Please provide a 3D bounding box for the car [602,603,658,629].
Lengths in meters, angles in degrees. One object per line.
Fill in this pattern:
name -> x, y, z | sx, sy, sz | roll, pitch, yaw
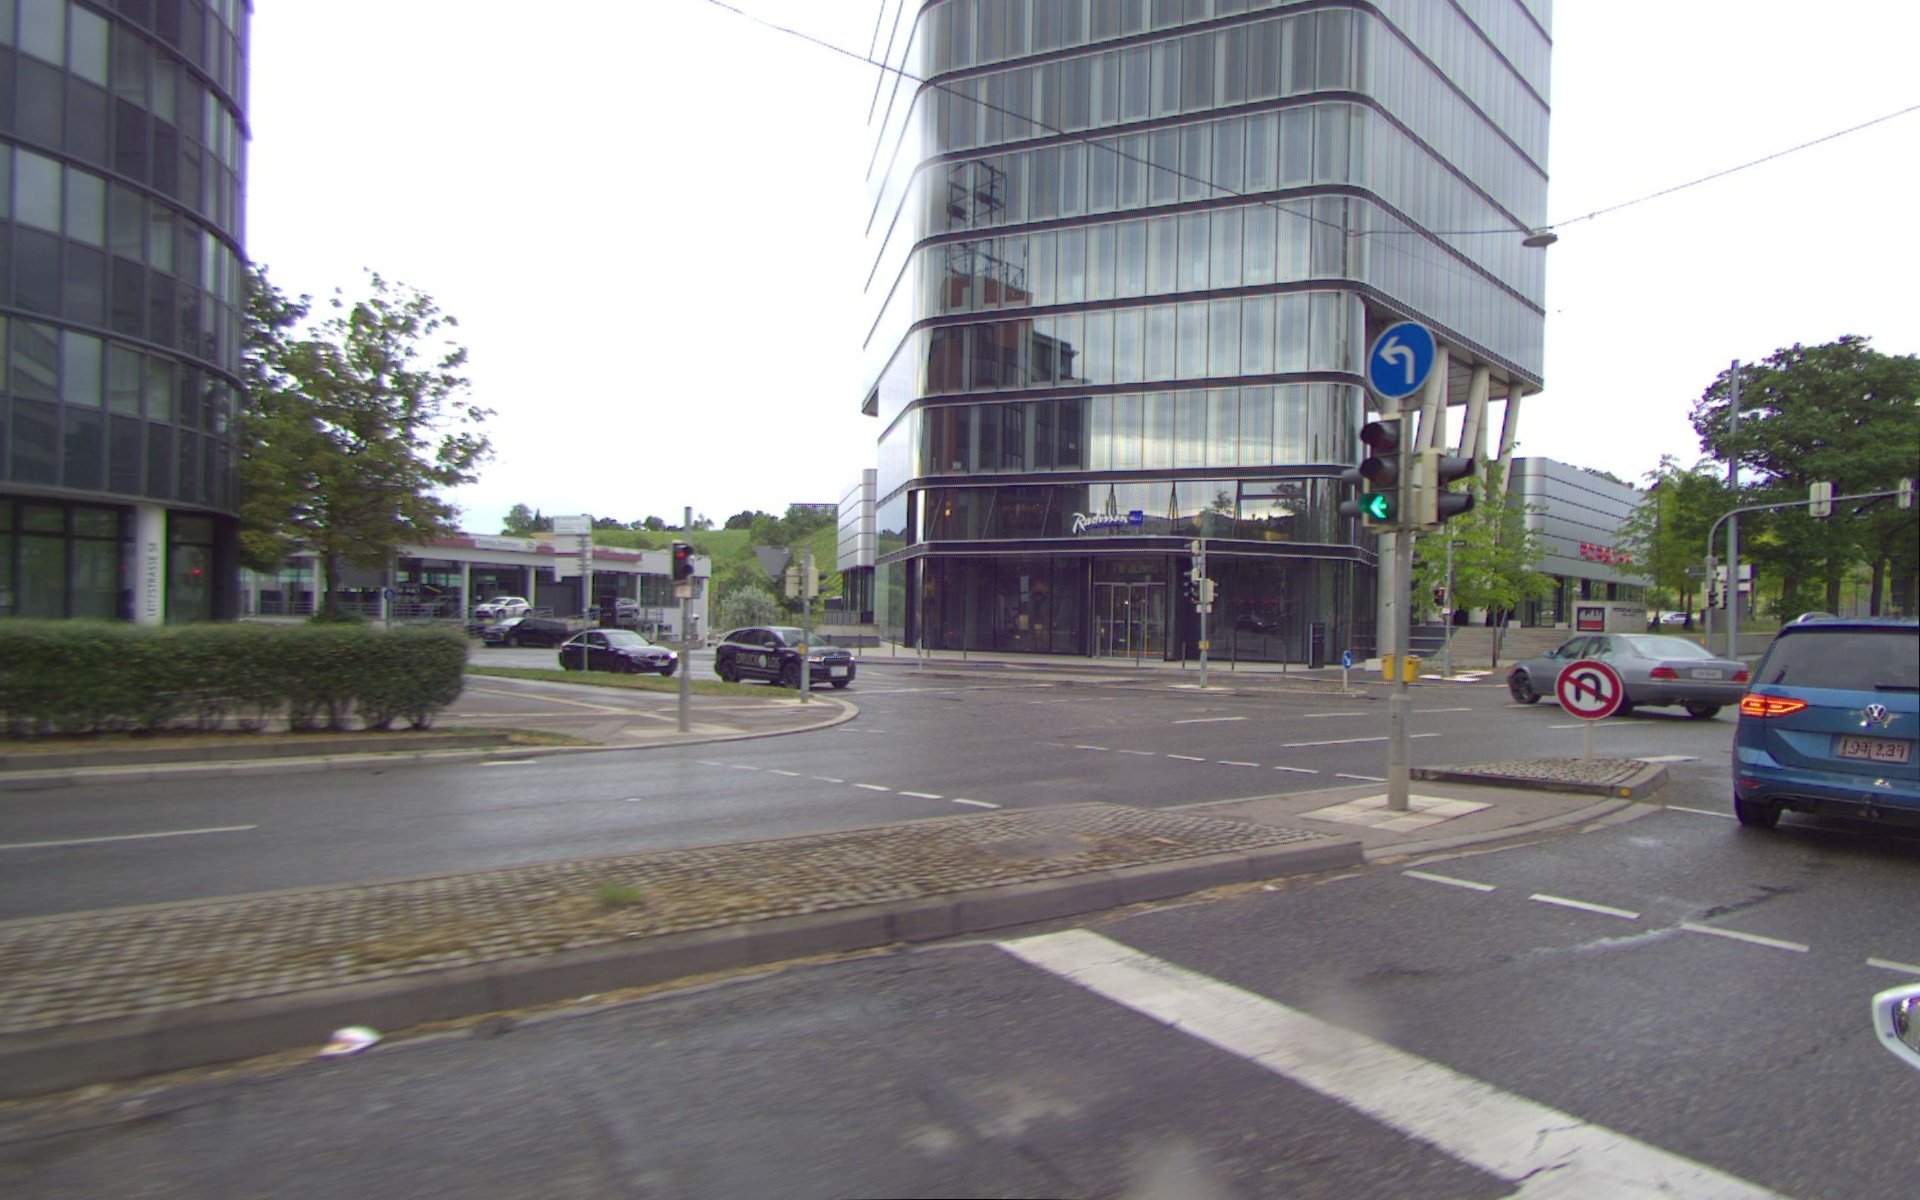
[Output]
car -> -24.697, 1.218, 75.332 | 1.765, 1.874, 3.999 | 0, -1, 23

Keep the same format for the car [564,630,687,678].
car -> -10.604, 1.673, 31.703 | 3.938, 1.380, 1.845 | -1, -2, 39

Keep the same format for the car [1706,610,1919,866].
car -> 7.553, 0.935, 7.846 | 4.160, 1.617, 1.759 | 2, -2, -38

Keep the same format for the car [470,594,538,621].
car -> -29.809, 0.527, 65.790 | 1.782, 1.672, 3.815 | 0, -2, 23

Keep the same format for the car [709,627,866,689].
car -> -4.699, 1.502, 27.118 | 4.307, 1.530, 1.848 | -1, -2, 40

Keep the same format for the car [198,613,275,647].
car -> -43.675, 1.805, 60.655 | 3.923, 1.929, 1.999 | 0, -1, 23

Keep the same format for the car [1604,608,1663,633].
car -> 55.810, 1.671, 83.256 | 3.938, 2.040, 1.991 | 0, -1, 39

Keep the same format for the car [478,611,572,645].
car -> -25.166, 1.661, 58.324 | 1.765, 1.839, 4.997 | 0, -2, 27

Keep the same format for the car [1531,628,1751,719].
car -> 12.915, 1.316, 19.381 | 1.815, 1.530, 4.051 | 1, -1, 6
